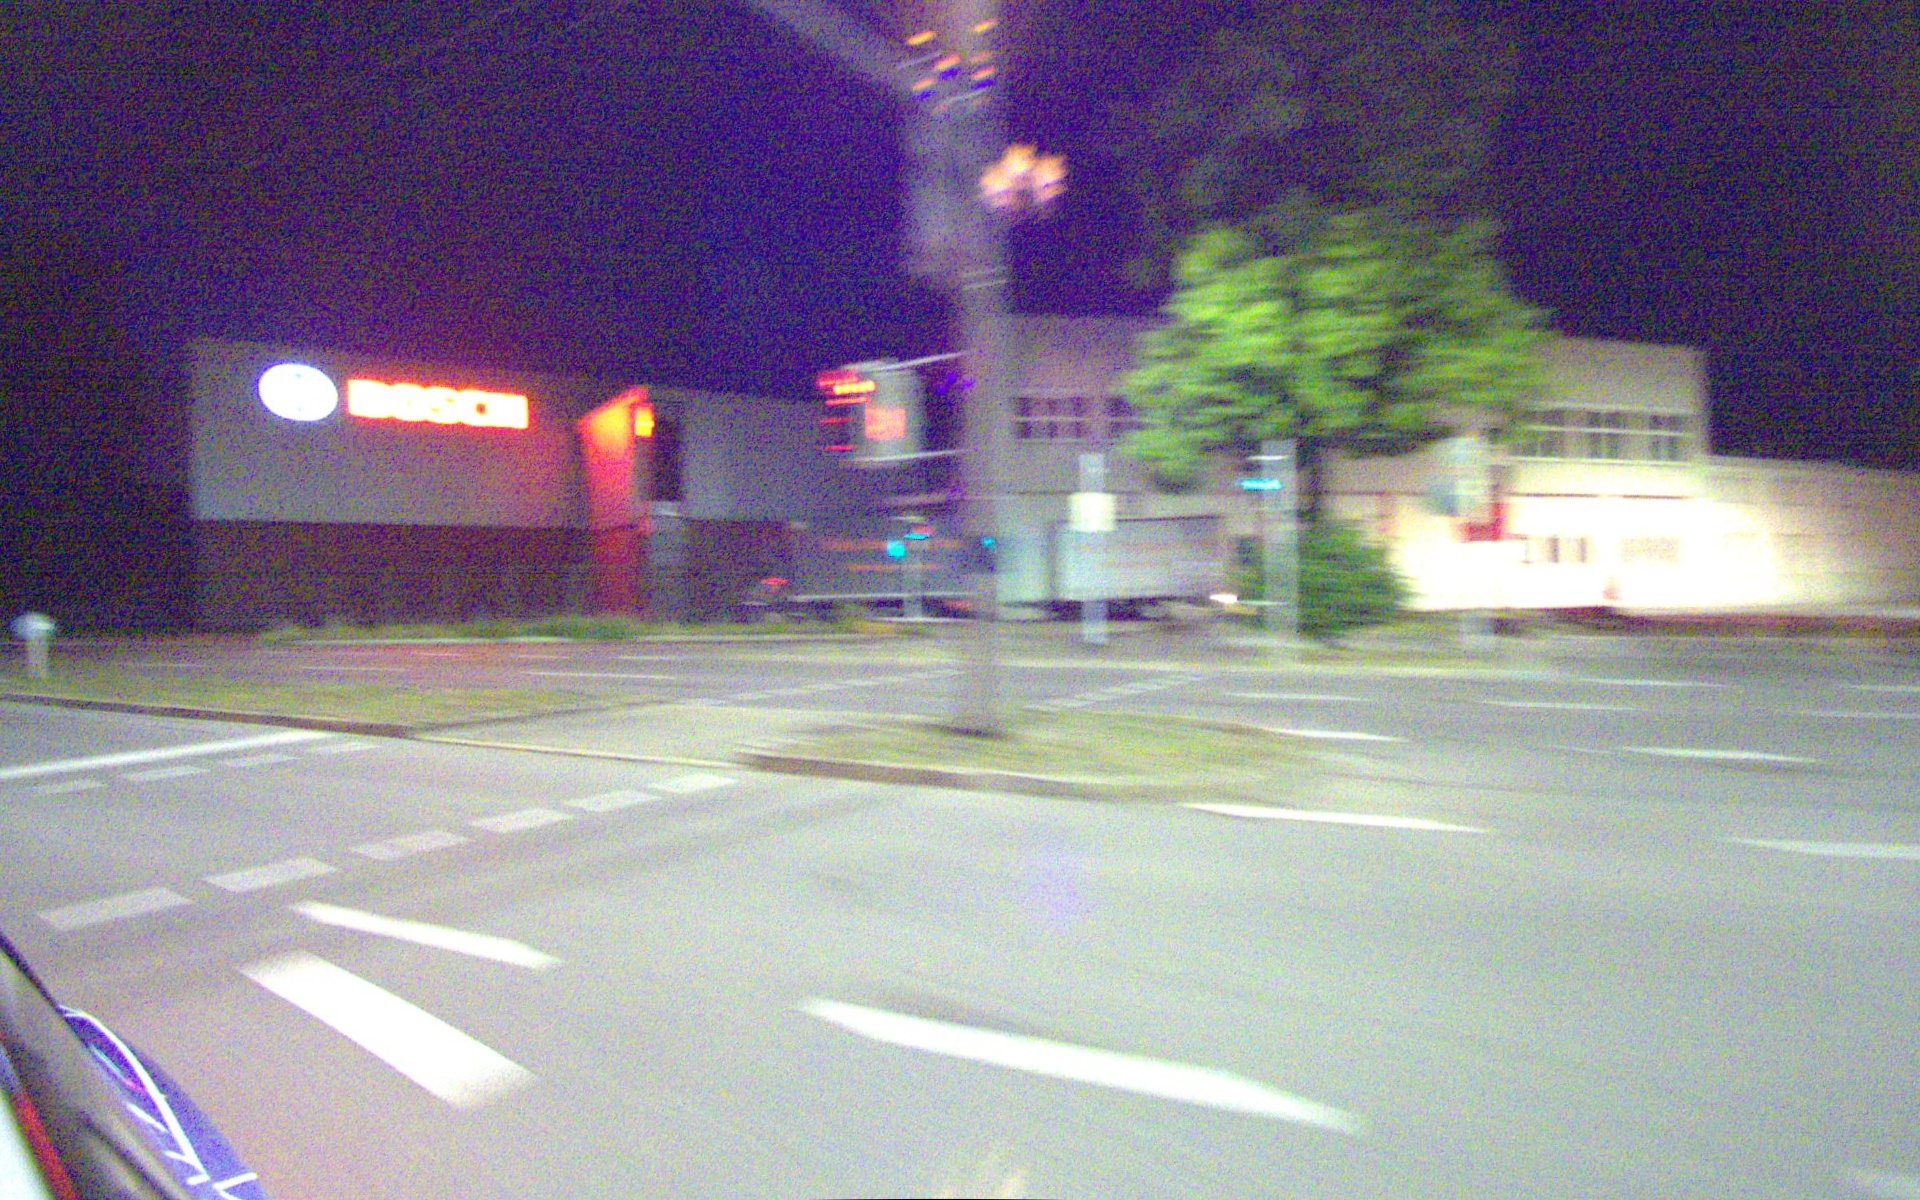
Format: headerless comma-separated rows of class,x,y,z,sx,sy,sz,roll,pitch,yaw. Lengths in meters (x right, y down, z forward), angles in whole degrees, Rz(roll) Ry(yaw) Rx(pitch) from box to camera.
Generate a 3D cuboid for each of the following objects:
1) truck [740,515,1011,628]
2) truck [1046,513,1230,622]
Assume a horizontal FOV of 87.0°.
truck,-2.929,-1.009,35.827,9.222,3.750,2.001,-1,1,-2
truck,6.408,-1.172,36.929,6.111,3.721,2.405,-1,1,-6
